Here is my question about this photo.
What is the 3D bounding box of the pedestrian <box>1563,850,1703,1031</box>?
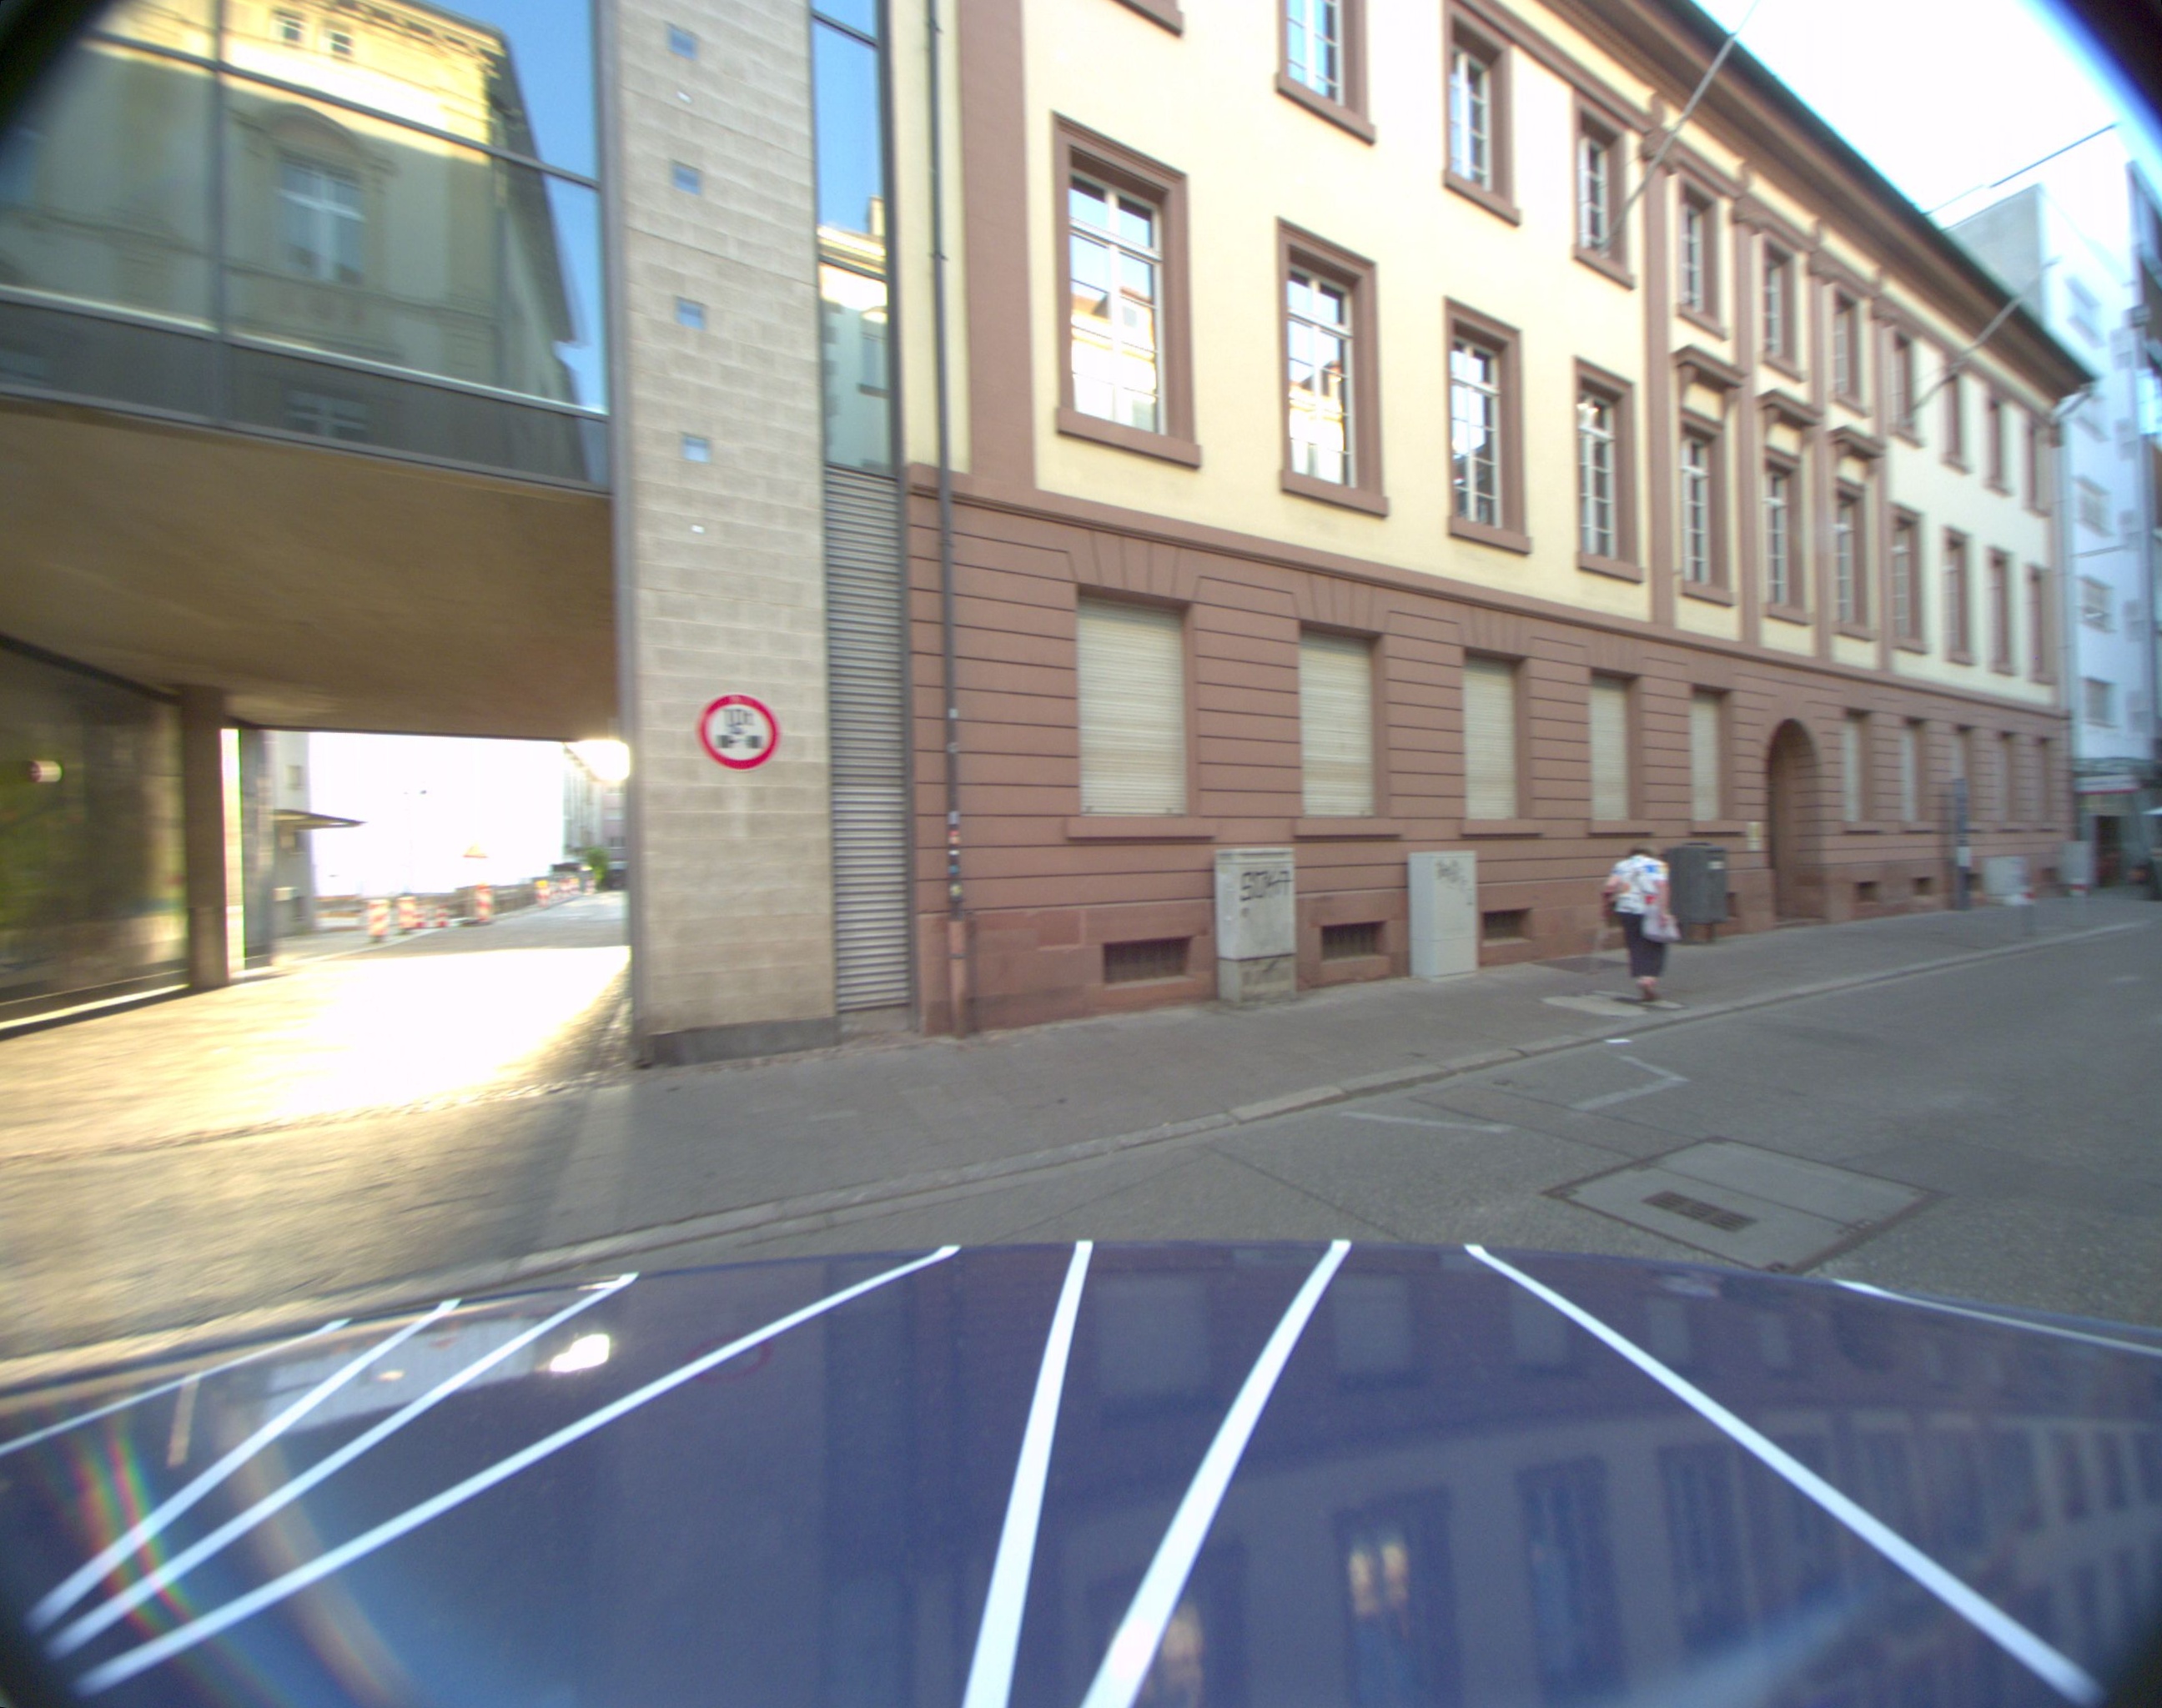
[{"bbox_3d":[5.507,0.800,7.595,0.932,1.661,0.810,-1,1,-29],"label":"pedestrian"}]

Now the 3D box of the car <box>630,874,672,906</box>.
[{"bbox_3d":[-22.722,1.880,40.135,1.605,1.484,3.436,-1,1,-35],"label":"car"}]

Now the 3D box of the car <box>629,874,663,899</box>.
[{"bbox_3d":[-28.301,2.071,49.417,1.605,1.484,3.436,-1,1,-35],"label":"car"}]

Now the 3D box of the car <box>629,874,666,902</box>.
[{"bbox_3d":[-25.797,1.975,45.157,1.605,1.484,3.436,-1,1,-35],"label":"car"}]

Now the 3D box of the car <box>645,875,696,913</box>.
[{"bbox_3d":[-18.232,1.714,33.718,1.605,1.484,3.436,-1,1,-35],"label":"car"}]
